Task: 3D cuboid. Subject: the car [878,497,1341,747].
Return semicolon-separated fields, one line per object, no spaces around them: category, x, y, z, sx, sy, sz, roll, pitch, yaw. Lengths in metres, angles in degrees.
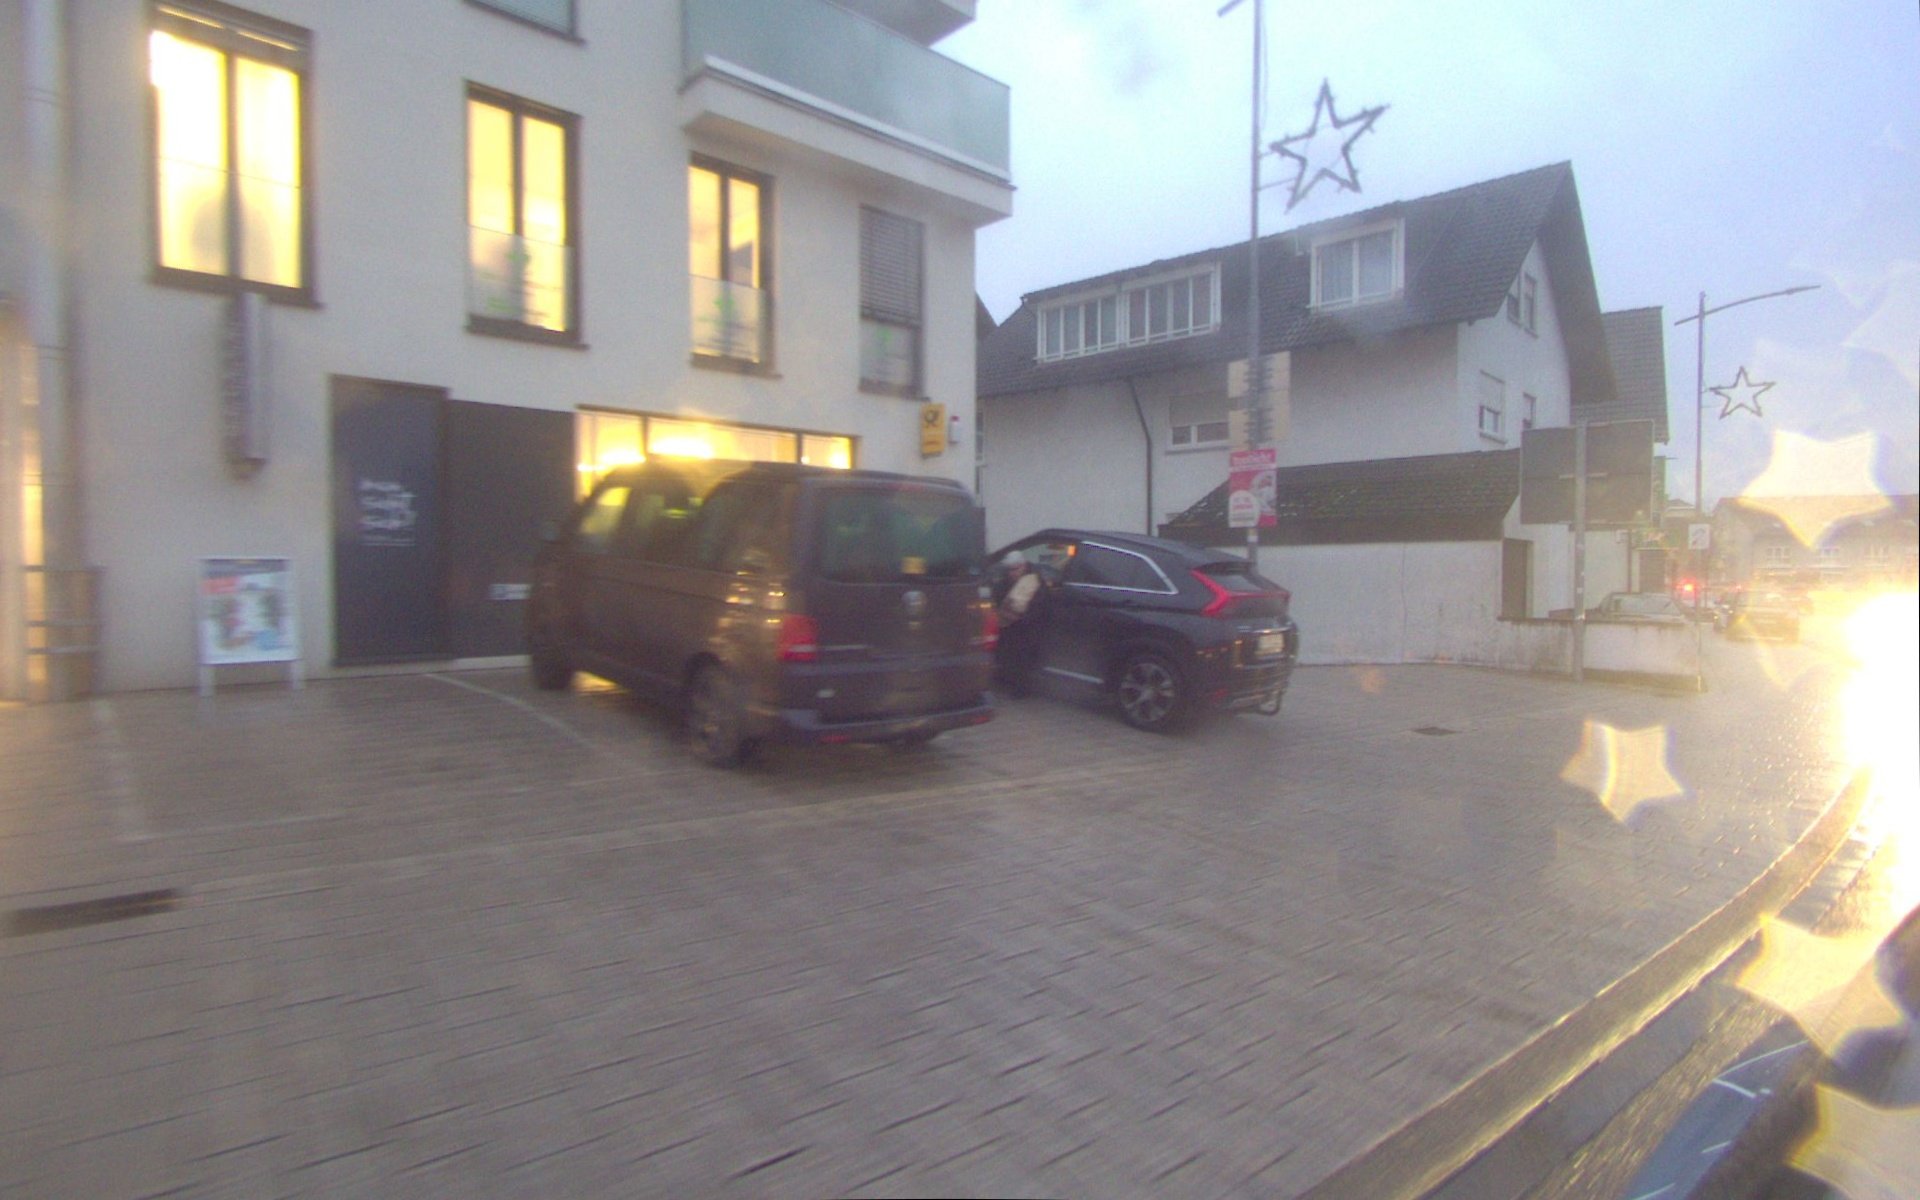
car;1.317;0.038;10.044;4.138;1.653;1.730;11;8;39

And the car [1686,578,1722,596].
car;63.523;-1.125;86.453;1.738;1.435;3.719;3;1;27

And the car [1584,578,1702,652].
car;16.035;0.305;23.694;1.771;1.515;3.721;4;2;41

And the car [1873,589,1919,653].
car;23.775;0.476;25.025;1.565;1.487;3.566;-1;0;39

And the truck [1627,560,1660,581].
truck;72.435;-3.103;107.361;2.124;2.038;4.496;3;1;25

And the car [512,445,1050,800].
car;-1.682;-0.092;7.896;1.941;1.957;4.549;1;5;-42

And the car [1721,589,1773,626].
car;29.665;0.245;38.197;1.489;1.307;3.247;1;1;37

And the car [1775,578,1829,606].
car;48.881;-0.471;58.821;1.658;1.541;3.957;3;1;30

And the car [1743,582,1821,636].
car;26.352;0.261;32.450;1.840;1.606;3.714;1;1;40
